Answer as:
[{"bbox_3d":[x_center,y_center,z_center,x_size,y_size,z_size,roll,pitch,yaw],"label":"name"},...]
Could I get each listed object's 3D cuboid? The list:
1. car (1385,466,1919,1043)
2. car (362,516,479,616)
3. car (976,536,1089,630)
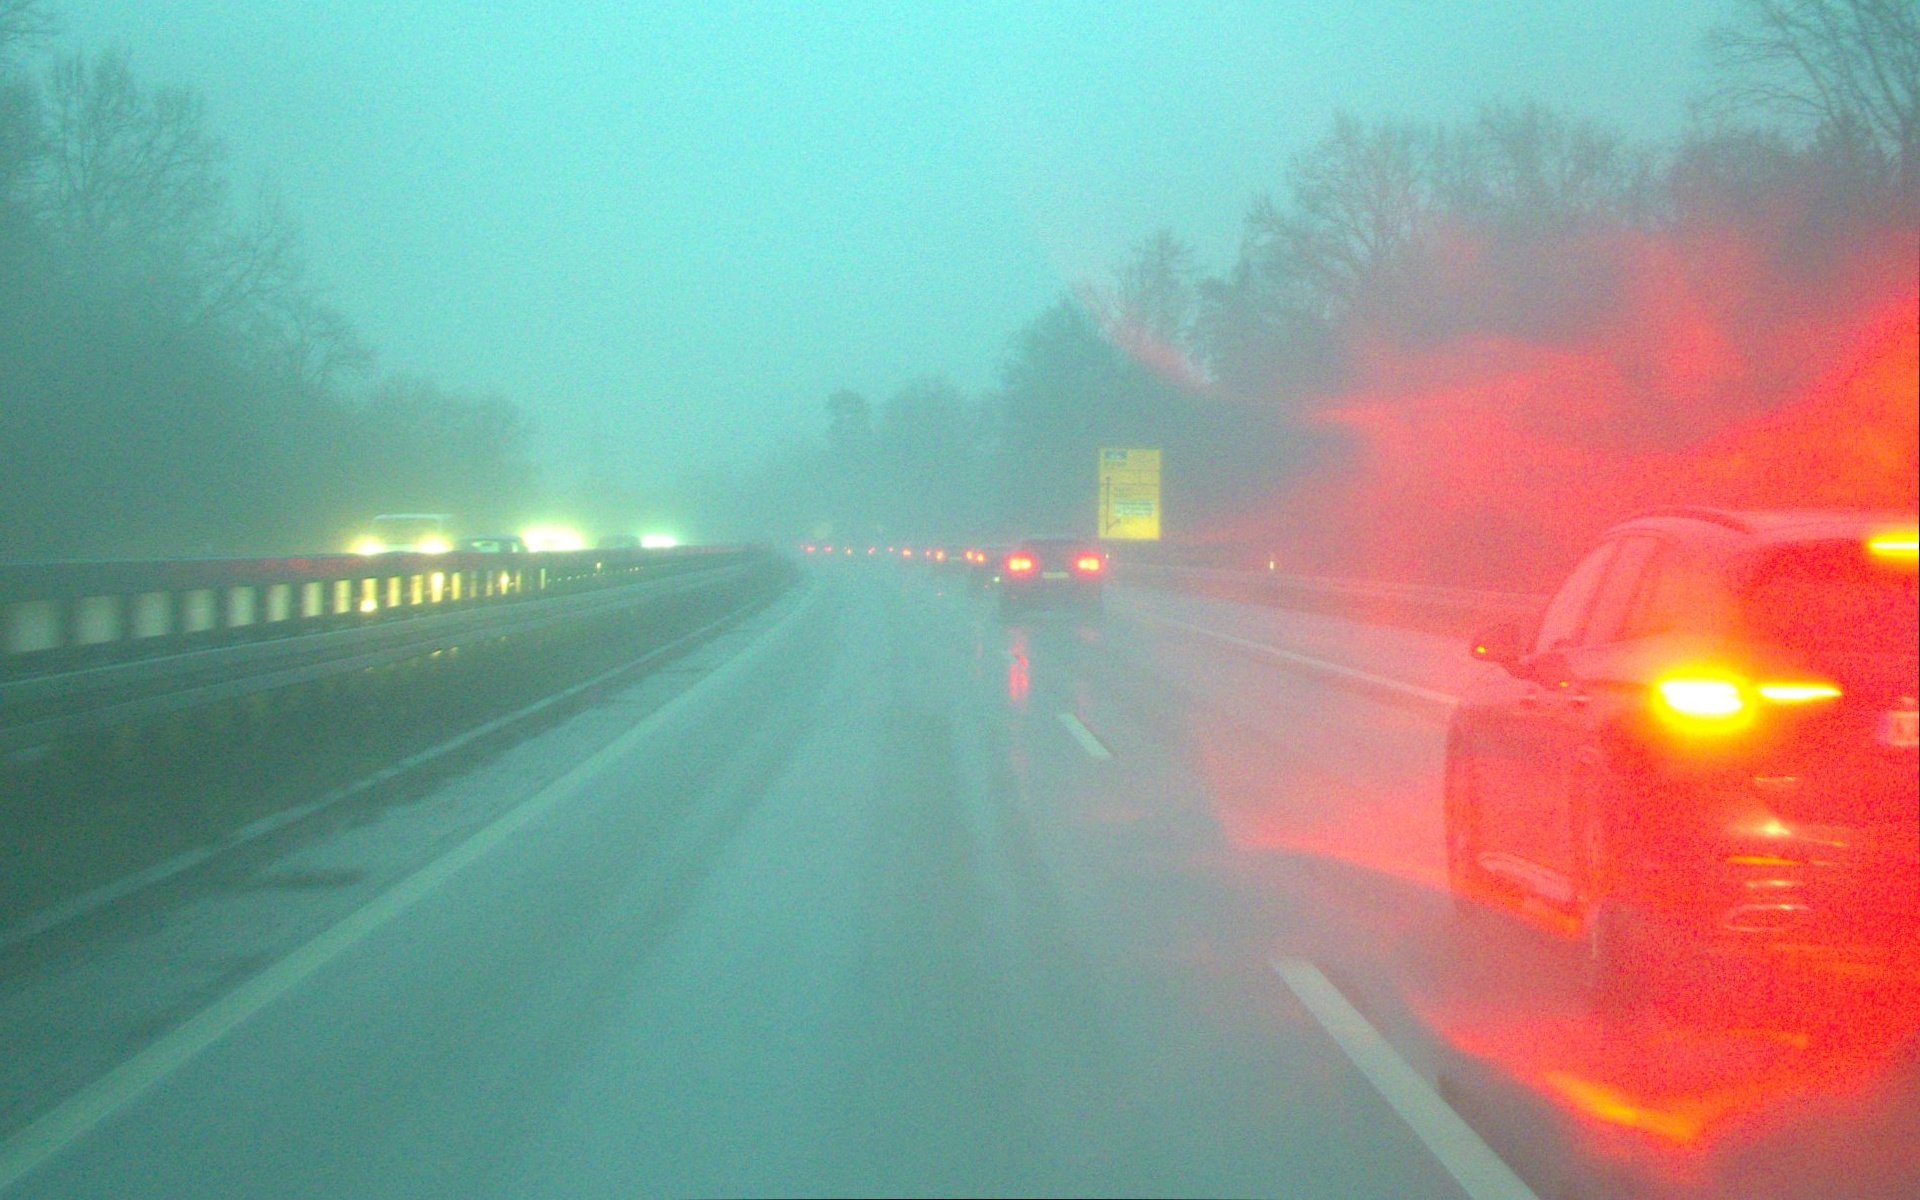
[{"bbox_3d":[2.838,0.469,12.683,1.924,1.785,3.941,1,1,-2],"label":"car"},{"bbox_3d":[-12.949,-0.814,82.816,2.031,2.308,5.461,1,1,-1],"label":"car"},{"bbox_3d":[1.353,-0.326,65.426,1.992,1.709,3.830,1,1,-1],"label":"car"}]
